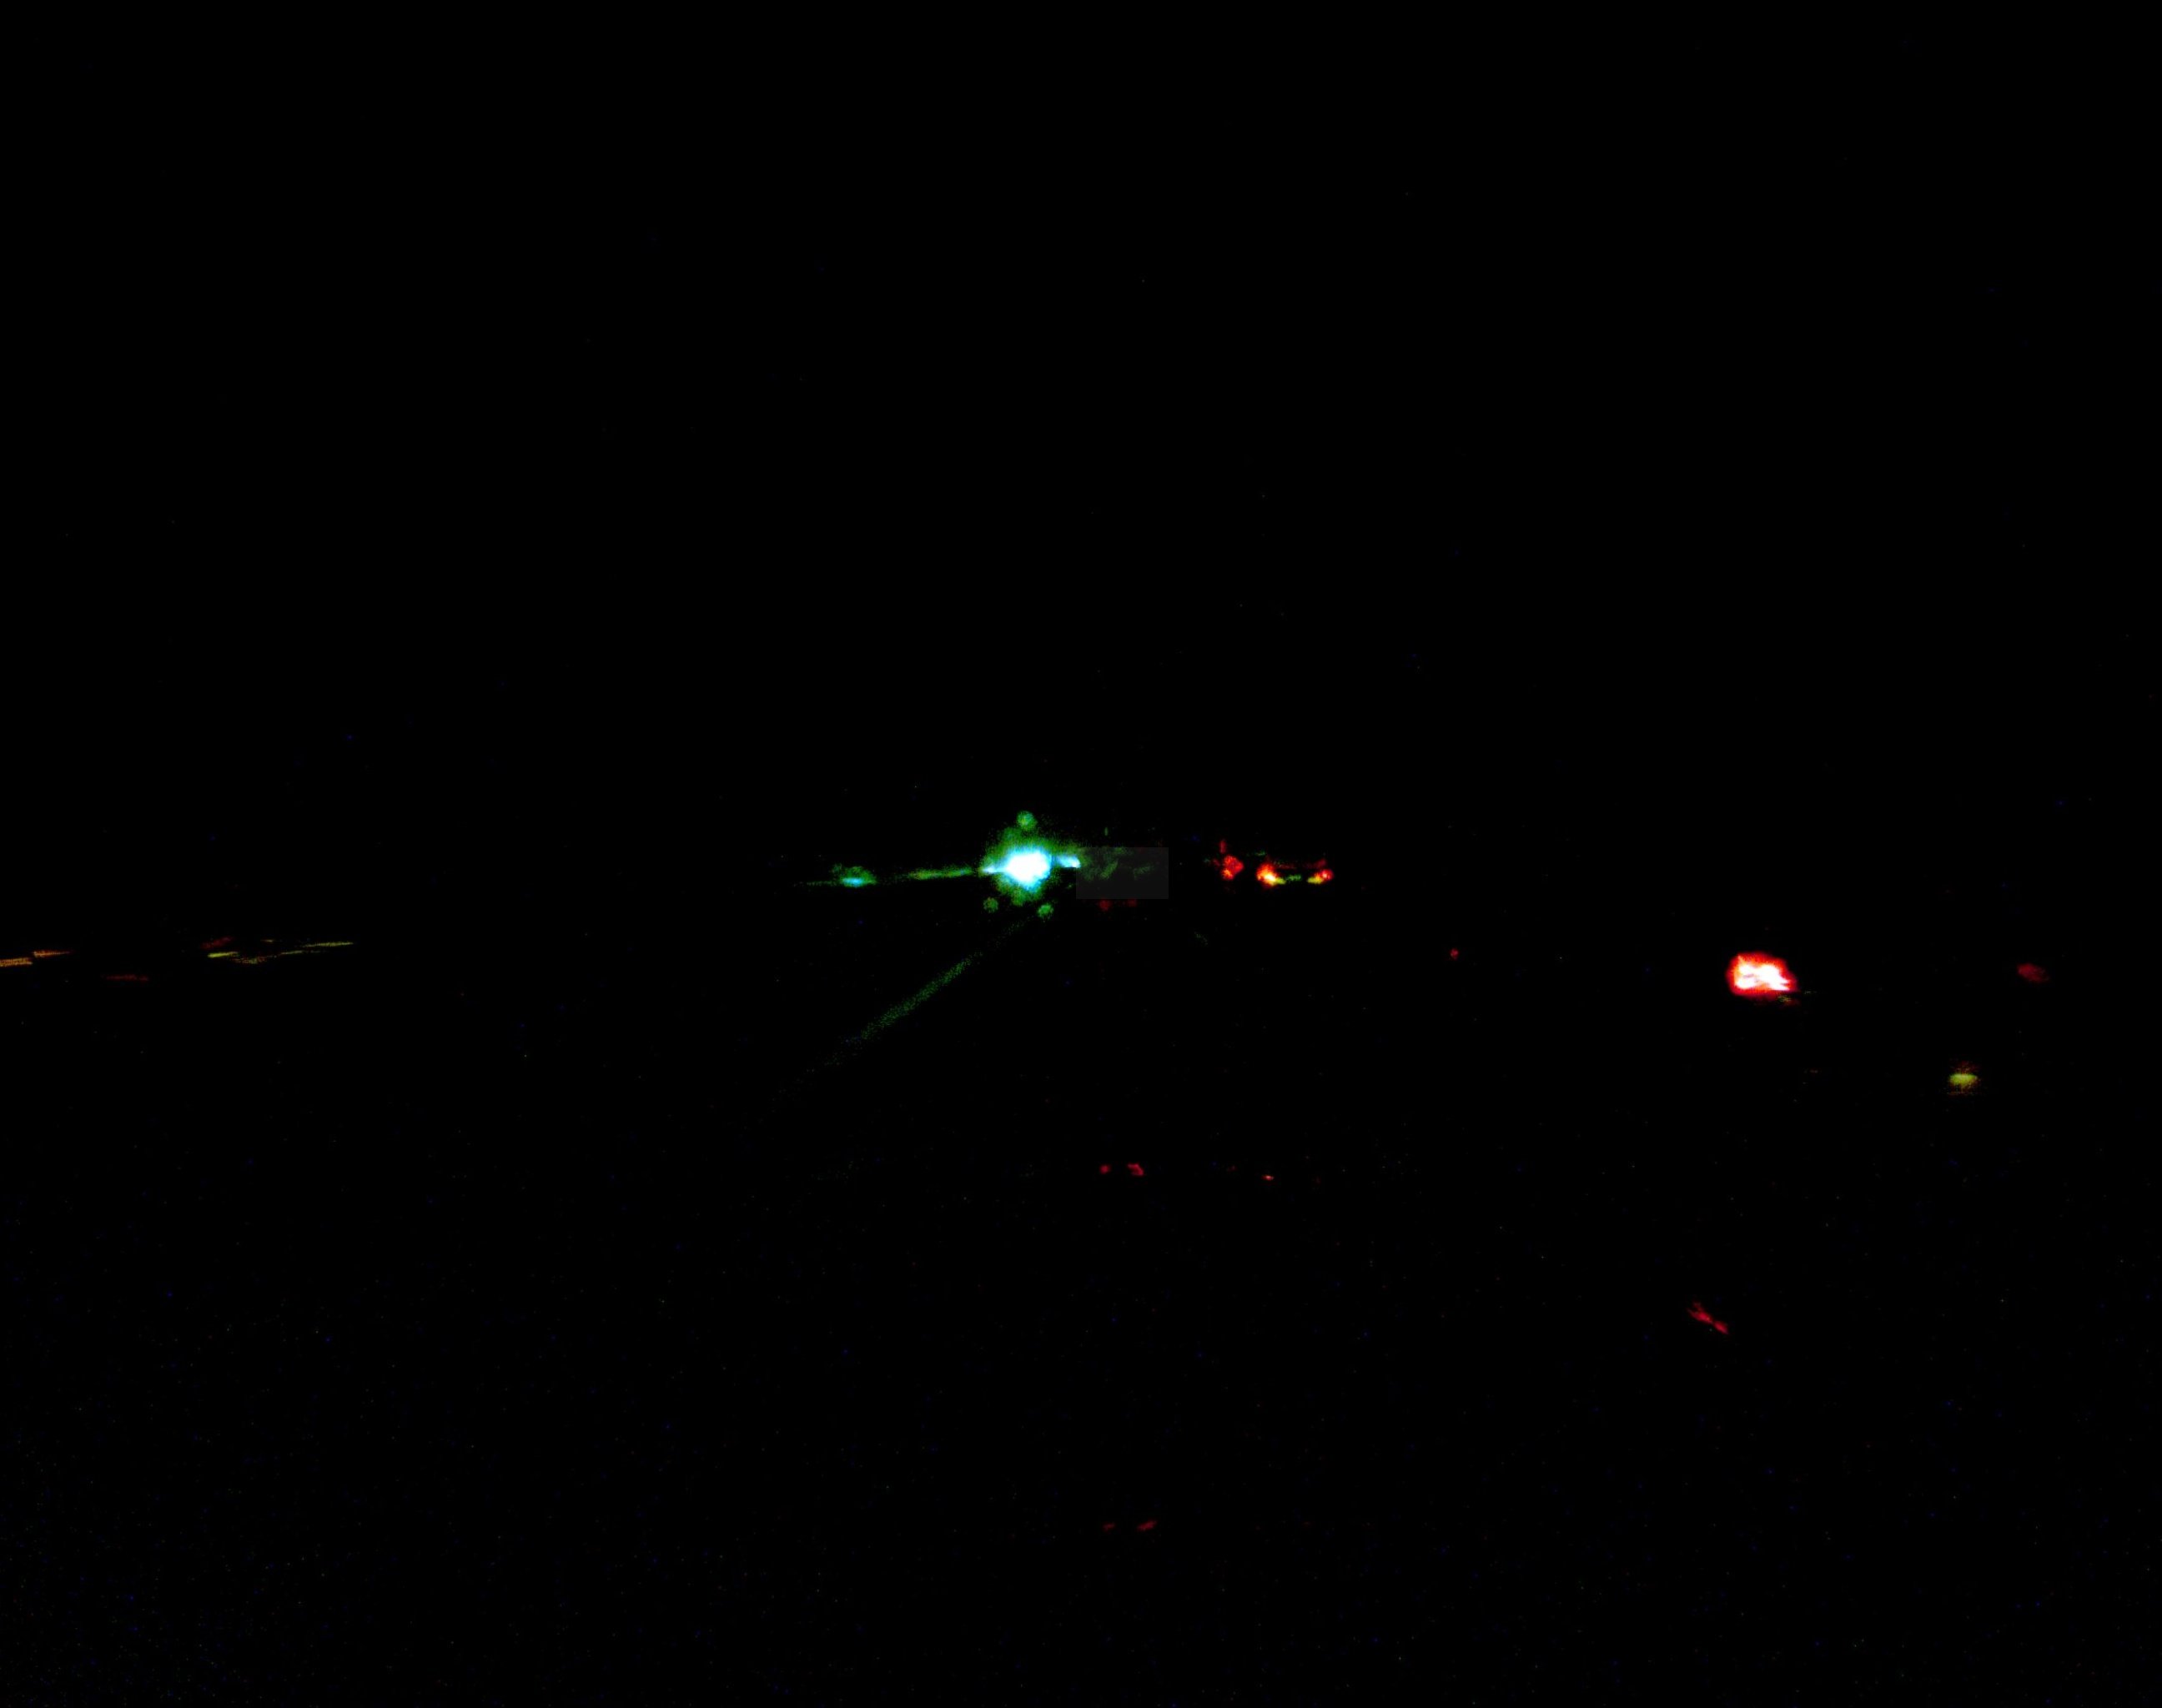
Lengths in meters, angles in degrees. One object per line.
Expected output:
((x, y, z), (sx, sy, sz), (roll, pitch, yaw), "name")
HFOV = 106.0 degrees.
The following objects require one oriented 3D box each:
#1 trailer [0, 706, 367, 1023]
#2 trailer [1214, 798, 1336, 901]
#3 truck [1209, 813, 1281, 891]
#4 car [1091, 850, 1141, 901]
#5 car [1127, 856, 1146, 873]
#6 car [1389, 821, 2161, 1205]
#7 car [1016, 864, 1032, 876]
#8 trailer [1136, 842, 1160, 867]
((-16.082, 0.077, 8.821), (2.962, 4.268, 14.869), (2, 0, 2), "trailer")
((9.167, -0.124, 40.687), (2.892, 4.108, 14.493), (-3, -1, 2), "trailer")
((9.382, -0.086, 47.233), (2.892, 4.108, 6.033), (-3, -1, 2), "truck")
((1.470, 0.888, 34.401), (1.986, 2.014, 4.001), (0, -1, 2), "car")
((7.176, 1.330, 105.579), (1.988, 2.014, 3.997), (-3, -1, -2), "car")
((3.835, 0.703, 5.698), (1.734, 1.575, 4.495), (-2, -1, 1), "car")
((-8.749, 2.476, 125.114), (1.986, 1.739, 5.238), (0, 0, 2), "car")
((11.967, 0.168, 145.972), (3.031, 4.109, 13.827), (-4, -1, 0), "trailer")
